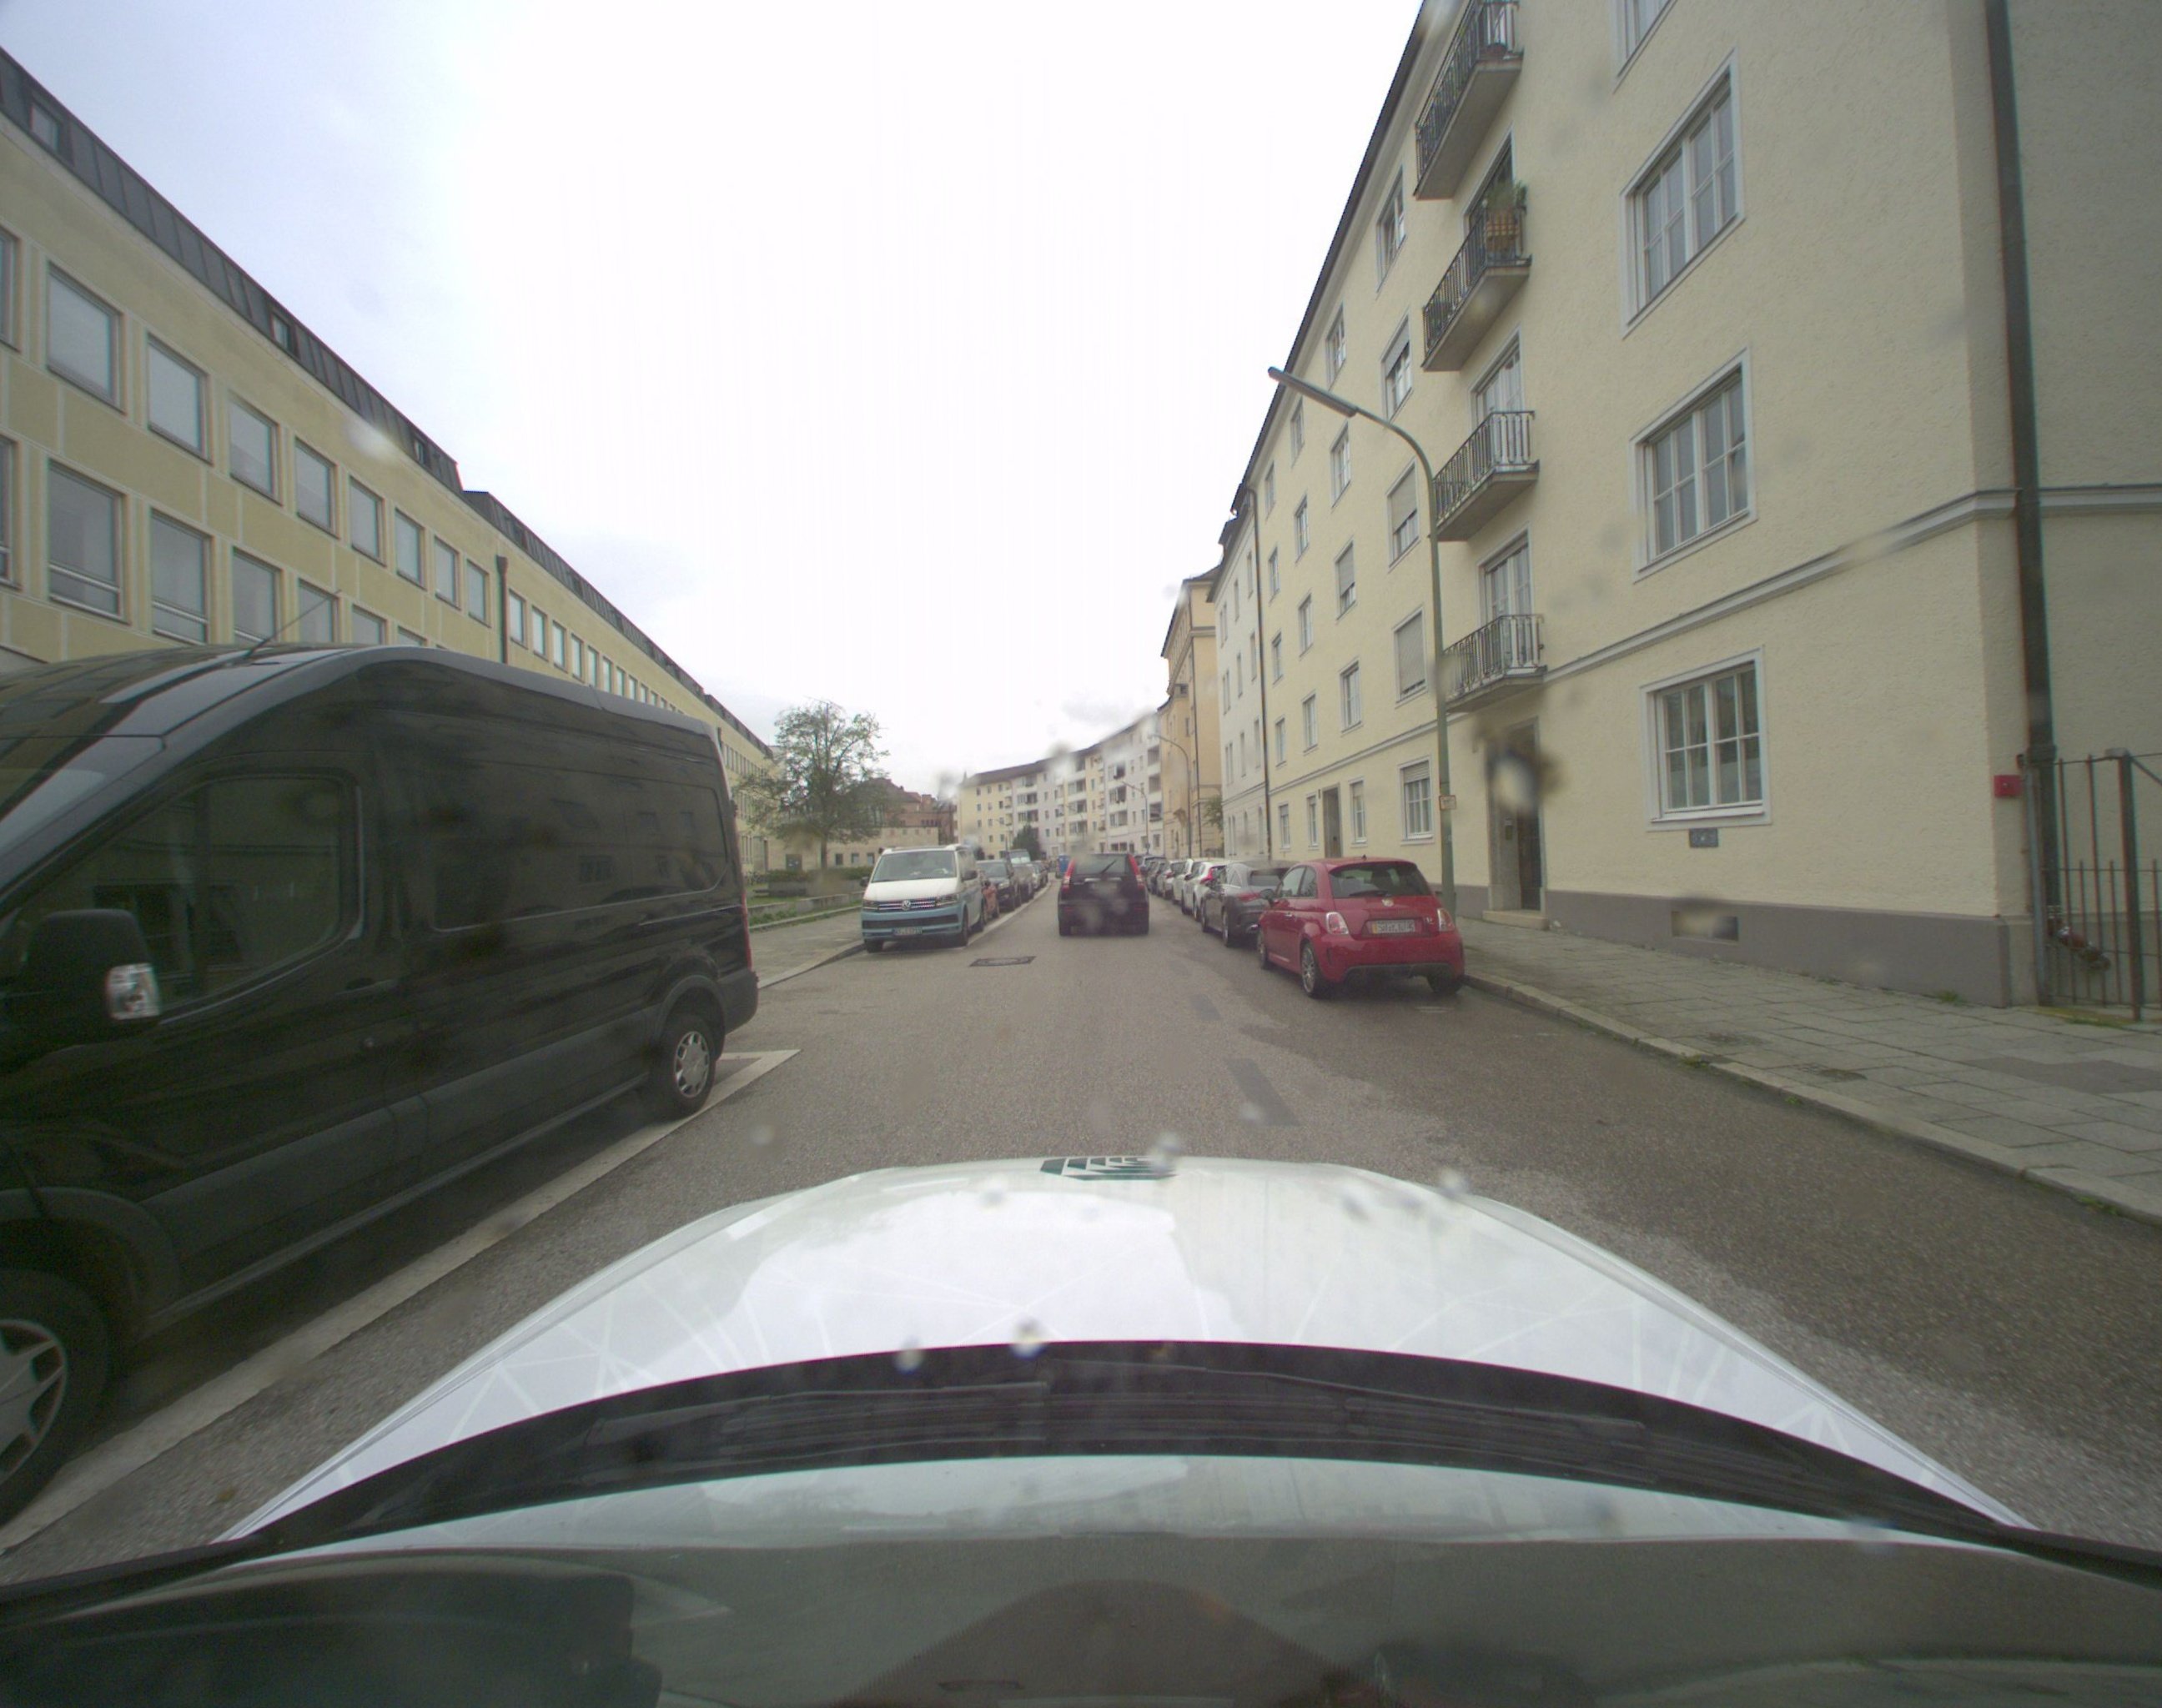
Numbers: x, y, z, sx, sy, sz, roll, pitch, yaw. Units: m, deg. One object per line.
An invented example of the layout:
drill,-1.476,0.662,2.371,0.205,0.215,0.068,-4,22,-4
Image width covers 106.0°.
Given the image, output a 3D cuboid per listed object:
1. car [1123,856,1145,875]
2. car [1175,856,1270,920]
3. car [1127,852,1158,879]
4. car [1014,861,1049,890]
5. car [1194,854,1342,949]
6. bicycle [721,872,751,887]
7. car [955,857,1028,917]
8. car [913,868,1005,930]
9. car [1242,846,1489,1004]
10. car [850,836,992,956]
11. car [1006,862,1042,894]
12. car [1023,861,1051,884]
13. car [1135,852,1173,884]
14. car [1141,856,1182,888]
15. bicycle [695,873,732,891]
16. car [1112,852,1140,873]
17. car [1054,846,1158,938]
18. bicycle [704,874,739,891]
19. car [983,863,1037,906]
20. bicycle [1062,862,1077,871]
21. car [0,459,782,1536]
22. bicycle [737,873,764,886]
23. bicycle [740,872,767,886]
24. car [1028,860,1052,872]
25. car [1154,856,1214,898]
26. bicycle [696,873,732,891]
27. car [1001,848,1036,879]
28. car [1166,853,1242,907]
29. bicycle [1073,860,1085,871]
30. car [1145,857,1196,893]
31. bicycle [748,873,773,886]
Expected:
car,4.370,0.949,67.895,1.701,1.447,3.831,-1,-1,2
car,3.504,0.801,20.931,1.673,1.410,4.442,-2,-1,0
car,4.139,0.773,55.745,1.862,1.717,4.866,-1,-1,1
car,-2.906,1.229,48.200,1.750,1.453,4.394,-4,0,-1
car,3.225,0.758,14.916,1.673,1.410,4.421,-2,-1,0
bicycle,-26.007,1.926,61.486,1.944,1.014,0.624,-2,0,-6
car,-2.887,1.028,27.122,1.738,1.666,4.448,-6,0,0
car,-3.115,1.118,21.577,1.737,1.387,3.919,-2,0,1
car,3.203,0.726,10.002,1.673,1.497,3.823,-2,-1,0
car,-3.088,0.759,16.834,1.923,1.979,5.019,-4,-1,-1
car,-3.008,1.240,43.324,1.652,1.453,4.070,-4,0,-2
car,-3.151,1.284,58.092,1.795,1.406,4.449,-4,0,-4
car,4.048,0.785,45.802,1.716,1.634,4.457,-2,-1,1
car,3.971,0.871,40.745,1.673,1.427,4.087,-2,-1,1
bicycle,-22.759,1.742,50.435,1.947,1.014,0.623,-2,0,-10
car,3.995,0.776,72.738,1.776,1.807,4.265,-1,-1,-7
car,0.404,0.741,17.357,1.886,1.647,3.987,-2,-1,-2
bicycle,-23.751,1.867,53.810,1.949,1.014,0.623,-2,0,-13
car,-2.734,1.145,32.235,1.675,1.453,3.869,-4,0,0
bicycle,-1.608,1.713,112.406,1.873,1.091,0.561,-2,-1,-21
car,-3.730,0.395,3.645,2.288,2.645,5.657,-4,0,3
bicycle,-27.514,2.136,67.716,1.947,1.014,0.623,-2,0,-10
bicycle,-26.952,2.037,66.996,1.951,1.014,0.622,-2,0,-16
car,-5.507,1.632,109.532,1.734,1.483,3.965,-1,0,-27
car,3.831,0.837,30.821,1.674,1.427,4.165,-2,-1,0
bicycle,-23.069,1.769,51.205,1.949,1.014,0.623,-2,0,-13
car,-5.732,0.876,74.393,2.167,2.641,5.990,-4,0,-13
car,3.775,0.767,25.578,1.674,1.481,4.165,-2,-1,0
bicycle,-0.252,1.442,104.699,0.970,1.388,2.551,-2,-1,-14
car,3.809,0.874,35.403,1.674,1.427,4.390,-2,-1,0
bicycle,-27.866,2.215,70.798,1.949,1.014,0.622,-2,0,-14
